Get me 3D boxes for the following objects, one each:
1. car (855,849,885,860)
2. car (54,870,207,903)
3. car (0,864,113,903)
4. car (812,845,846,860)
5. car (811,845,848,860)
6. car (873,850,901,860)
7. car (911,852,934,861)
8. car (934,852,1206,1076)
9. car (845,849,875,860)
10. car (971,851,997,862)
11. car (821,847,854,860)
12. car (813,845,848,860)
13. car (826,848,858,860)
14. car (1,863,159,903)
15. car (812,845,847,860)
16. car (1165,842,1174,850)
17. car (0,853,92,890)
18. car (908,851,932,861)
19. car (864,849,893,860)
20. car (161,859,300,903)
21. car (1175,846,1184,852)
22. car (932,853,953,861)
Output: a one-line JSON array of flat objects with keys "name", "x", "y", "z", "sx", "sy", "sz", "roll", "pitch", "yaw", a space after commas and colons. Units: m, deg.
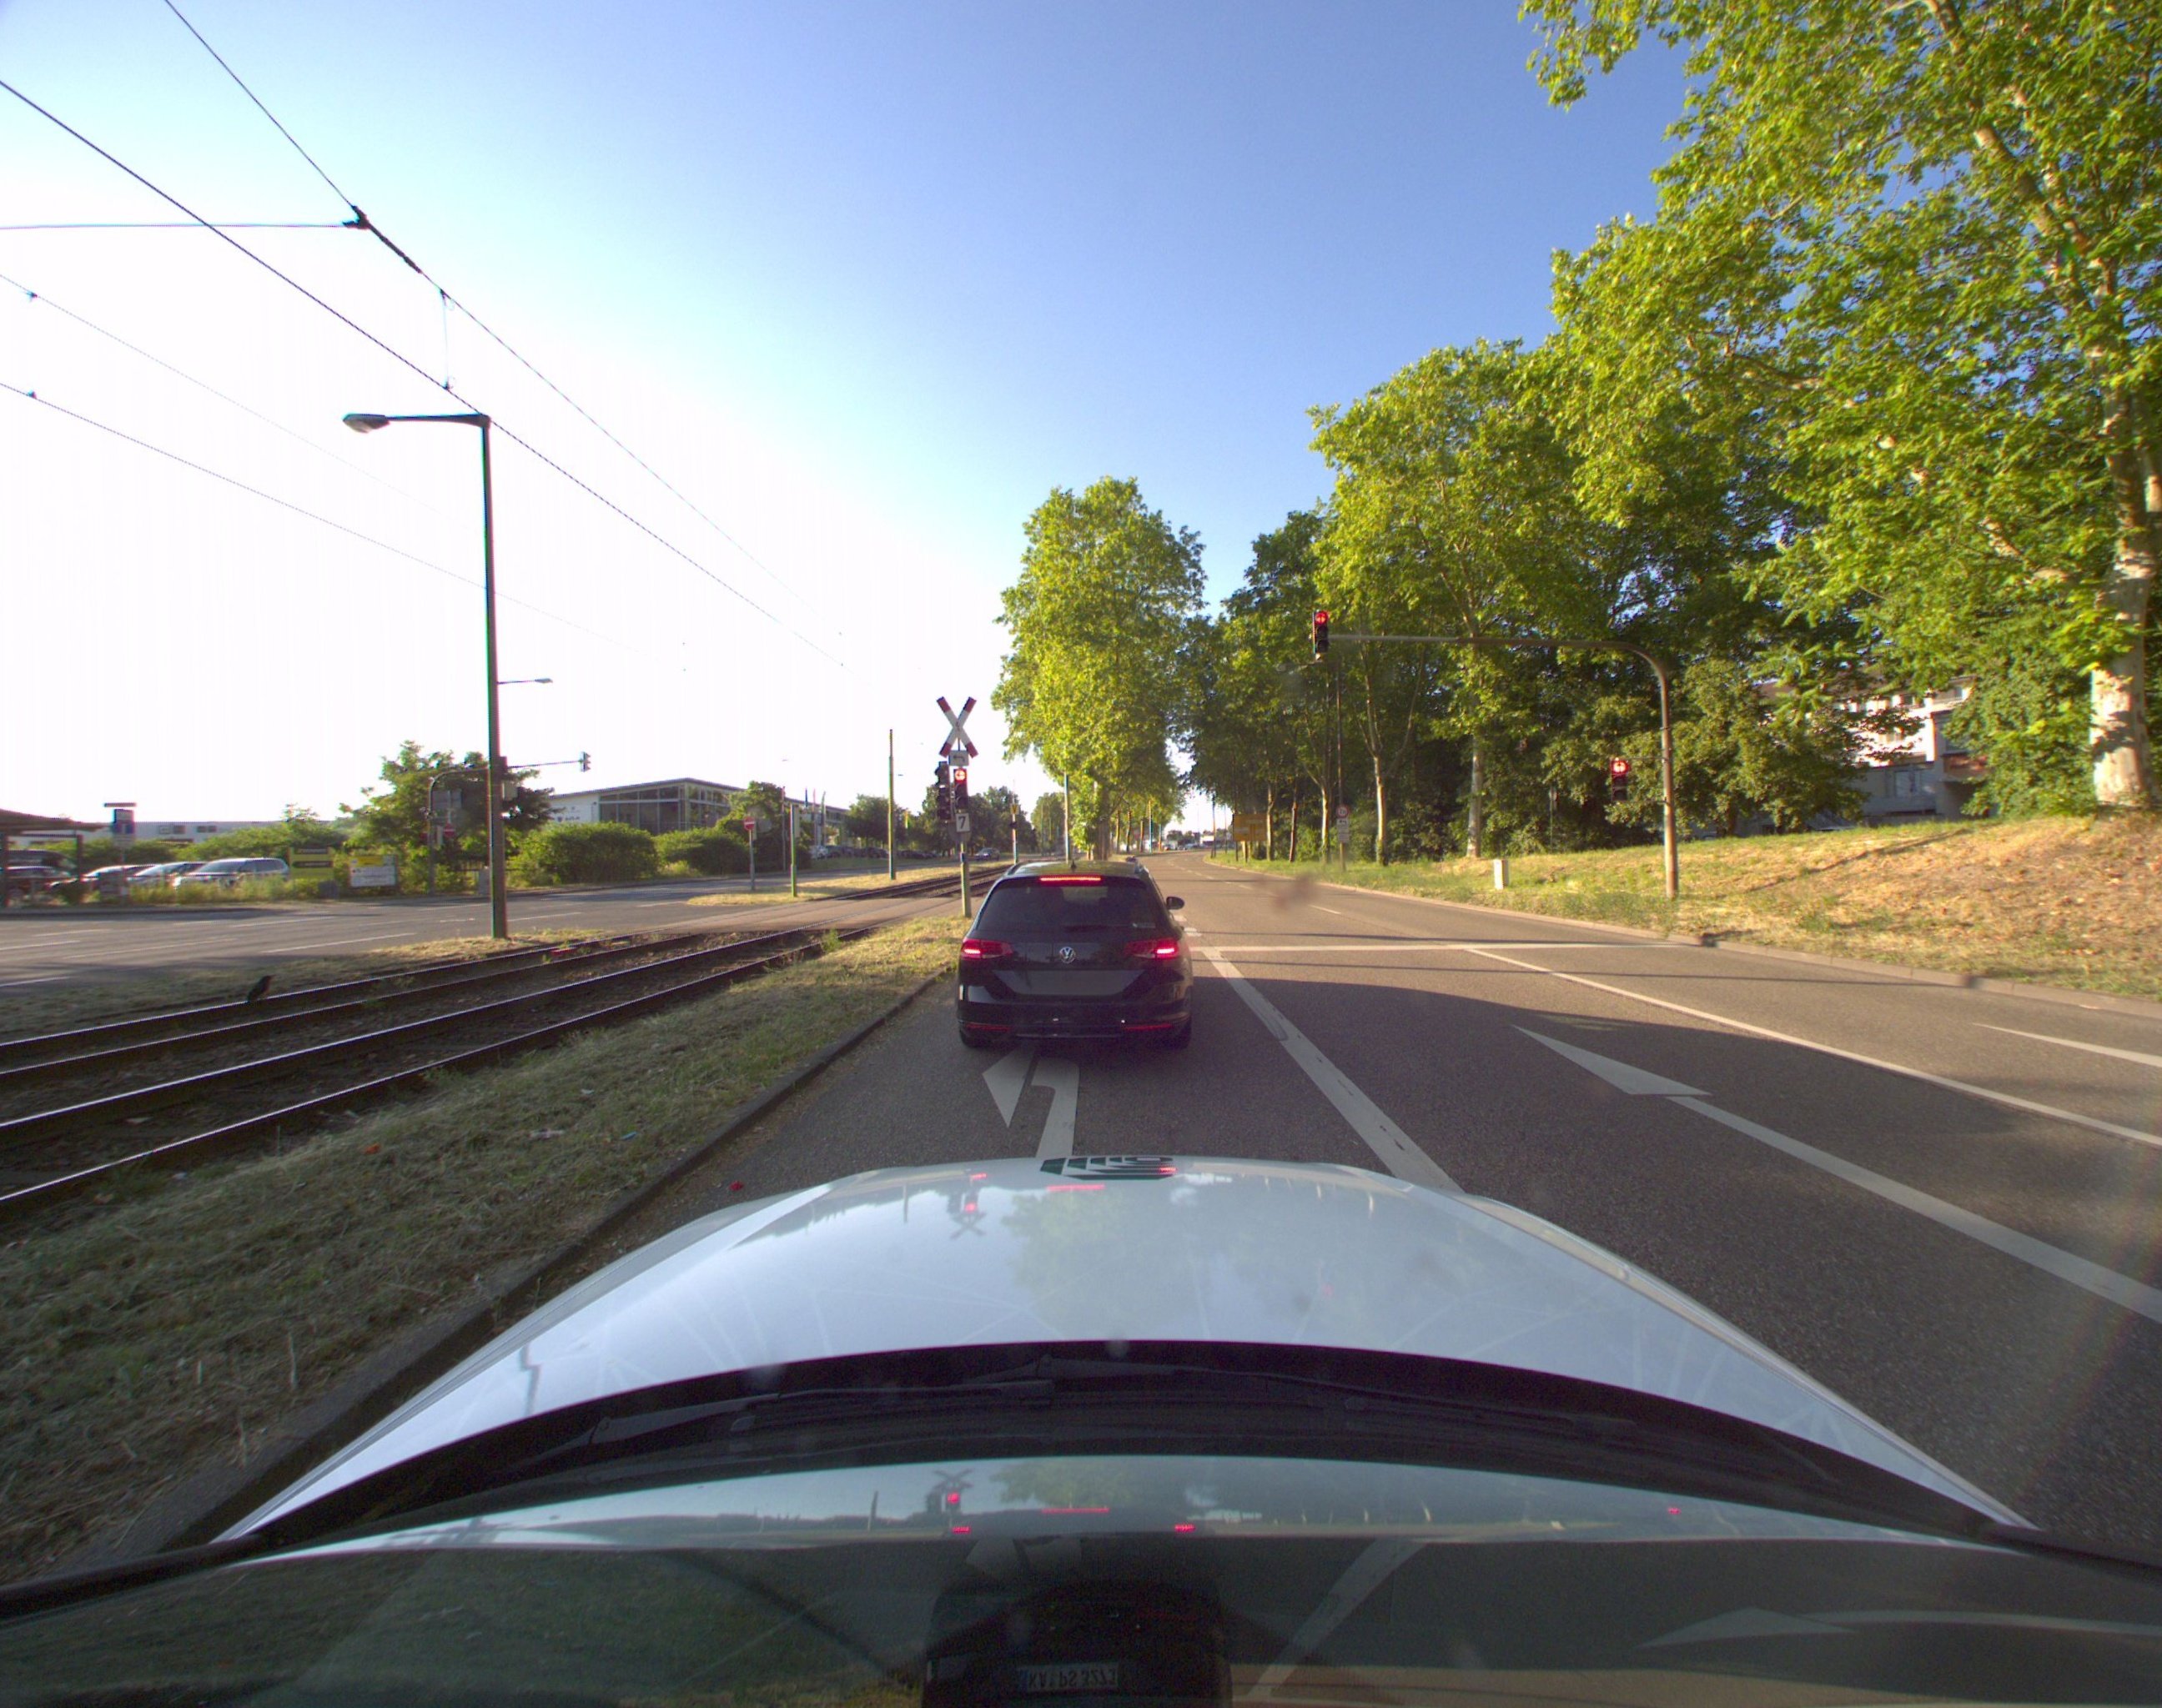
[{"name": "car", "x": -31.008, "y": 0.113, "z": 119.473, "sx": 3.980, "sy": 1.556, "sz": 1.741, "roll": -1, "pitch": 0, "yaw": -5}, {"name": "car", "x": -42.461, "y": 1.415, "z": 36.537, "sx": 1.855, "sy": 1.266, "sz": 4.174, "roll": 0, "pitch": 1, "yaw": 2}, {"name": "car", "x": -47.150, "y": 1.301, "z": 36.692, "sx": 1.970, "sy": 1.583, "sz": 4.174, "roll": 0, "pitch": 1, "yaw": 2}, {"name": "car", "x": -31.347, "y": -0.222, "z": 101.270, "sx": 3.999, "sy": 1.816, "sz": 1.732, "roll": -1, "pitch": 0, "yaw": -19}, {"name": "car", "x": -29.260, "y": -0.181, "z": 94.761, "sx": 3.999, "sy": 1.704, "sz": 1.732, "roll": -1, "pitch": 0, "yaw": -19}, {"name": "car", "x": -30.123, "y": 0.159, "z": 126.596, "sx": 3.978, "sy": 1.621, "sz": 1.742, "roll": -1, "pitch": 0, "yaw": -3}, {"name": "car", "x": -29.265, "y": 0.404, "z": 150.658, "sx": 3.978, "sy": 1.621, "sz": 1.742, "roll": -1, "pitch": 0, "yaw": -3}, {"name": "car", "x": -0.030, "y": 0.725, "z": 7.171, "sx": 1.788, "sy": 1.464, "sz": 3.584, "roll": 0, "pitch": 0, "yaw": 1}, {"name": "car", "x": -31.440, "y": 0.079, "z": 115.961, "sx": 3.983, "sy": 1.556, "sz": 1.739, "roll": -1, "pitch": 0, "yaw": -7}, {"name": "car", "x": -12.847, "y": 0.324, "z": 108.522, "sx": 1.847, "sy": 1.481, "sz": 4.191, "roll": 0, "pitch": 1, "yaw": 18}, {"name": "car", "x": -31.152, "y": -0.057, "z": 104.065, "sx": 3.999, "sy": 1.556, "sz": 1.732, "roll": -1, "pitch": 0, "yaw": -19}, {"name": "car", "x": -30.602, "y": -0.214, "z": 99.384, "sx": 3.999, "sy": 1.816, "sz": 1.732, "roll": -1, "pitch": 0, "yaw": -19}, {"name": "car", "x": -31.366, "y": -0.022, "z": 106.856, "sx": 3.999, "sy": 1.556, "sz": 1.732, "roll": -1, "pitch": 0, "yaw": -19}, {"name": "car", "x": -44.701, "y": 1.254, "z": 36.540, "sx": 1.855, "sy": 1.583, "sz": 4.174, "roll": 0, "pitch": 1, "yaw": 2}, {"name": "car", "x": -29.950, "y": -0.171, "z": 97.030, "sx": 3.999, "sy": 1.704, "sz": 1.732, "roll": -1, "pitch": 0, "yaw": -19}, {"name": "car", "x": 25.949, "y": -2.282, "z": 238.979, "sx": 2.086, "sy": 2.461, "sz": 5.857, "roll": 0, "pitch": 0, "yaw": 3}, {"name": "car", "x": -60.413, "y": 0.961, "z": 46.549, "sx": 1.855, "sy": 2.014, "sz": 4.773, "roll": 0, "pitch": 0, "yaw": 2}, {"name": "car", "x": -29.112, "y": 0.370, "z": 147.490, "sx": 3.978, "sy": 1.621, "sz": 1.742, "roll": -1, "pitch": 0, "yaw": -3}, {"name": "car", "x": -30.611, "y": 0.126, "z": 123.394, "sx": 3.978, "sy": 1.621, "sz": 1.742, "roll": -1, "pitch": 0, "yaw": -3}, {"name": "car", "x": -38.513, "y": 1.175, "z": 37.059, "sx": 1.855, "sy": 1.821, "sz": 4.174, "roll": 0, "pitch": 0, "yaw": 2}, {"name": "car", "x": 25.133, "y": -1.319, "z": 207.501, "sx": 1.856, "sy": 1.481, "sz": 4.090, "roll": -1, "pitch": 0, "yaw": -1}, {"name": "car", "x": -28.823, "y": 0.616, "z": 169.571, "sx": 3.977, "sy": 1.556, "sz": 1.742, "roll": -1, "pitch": 0, "yaw": -2}]
